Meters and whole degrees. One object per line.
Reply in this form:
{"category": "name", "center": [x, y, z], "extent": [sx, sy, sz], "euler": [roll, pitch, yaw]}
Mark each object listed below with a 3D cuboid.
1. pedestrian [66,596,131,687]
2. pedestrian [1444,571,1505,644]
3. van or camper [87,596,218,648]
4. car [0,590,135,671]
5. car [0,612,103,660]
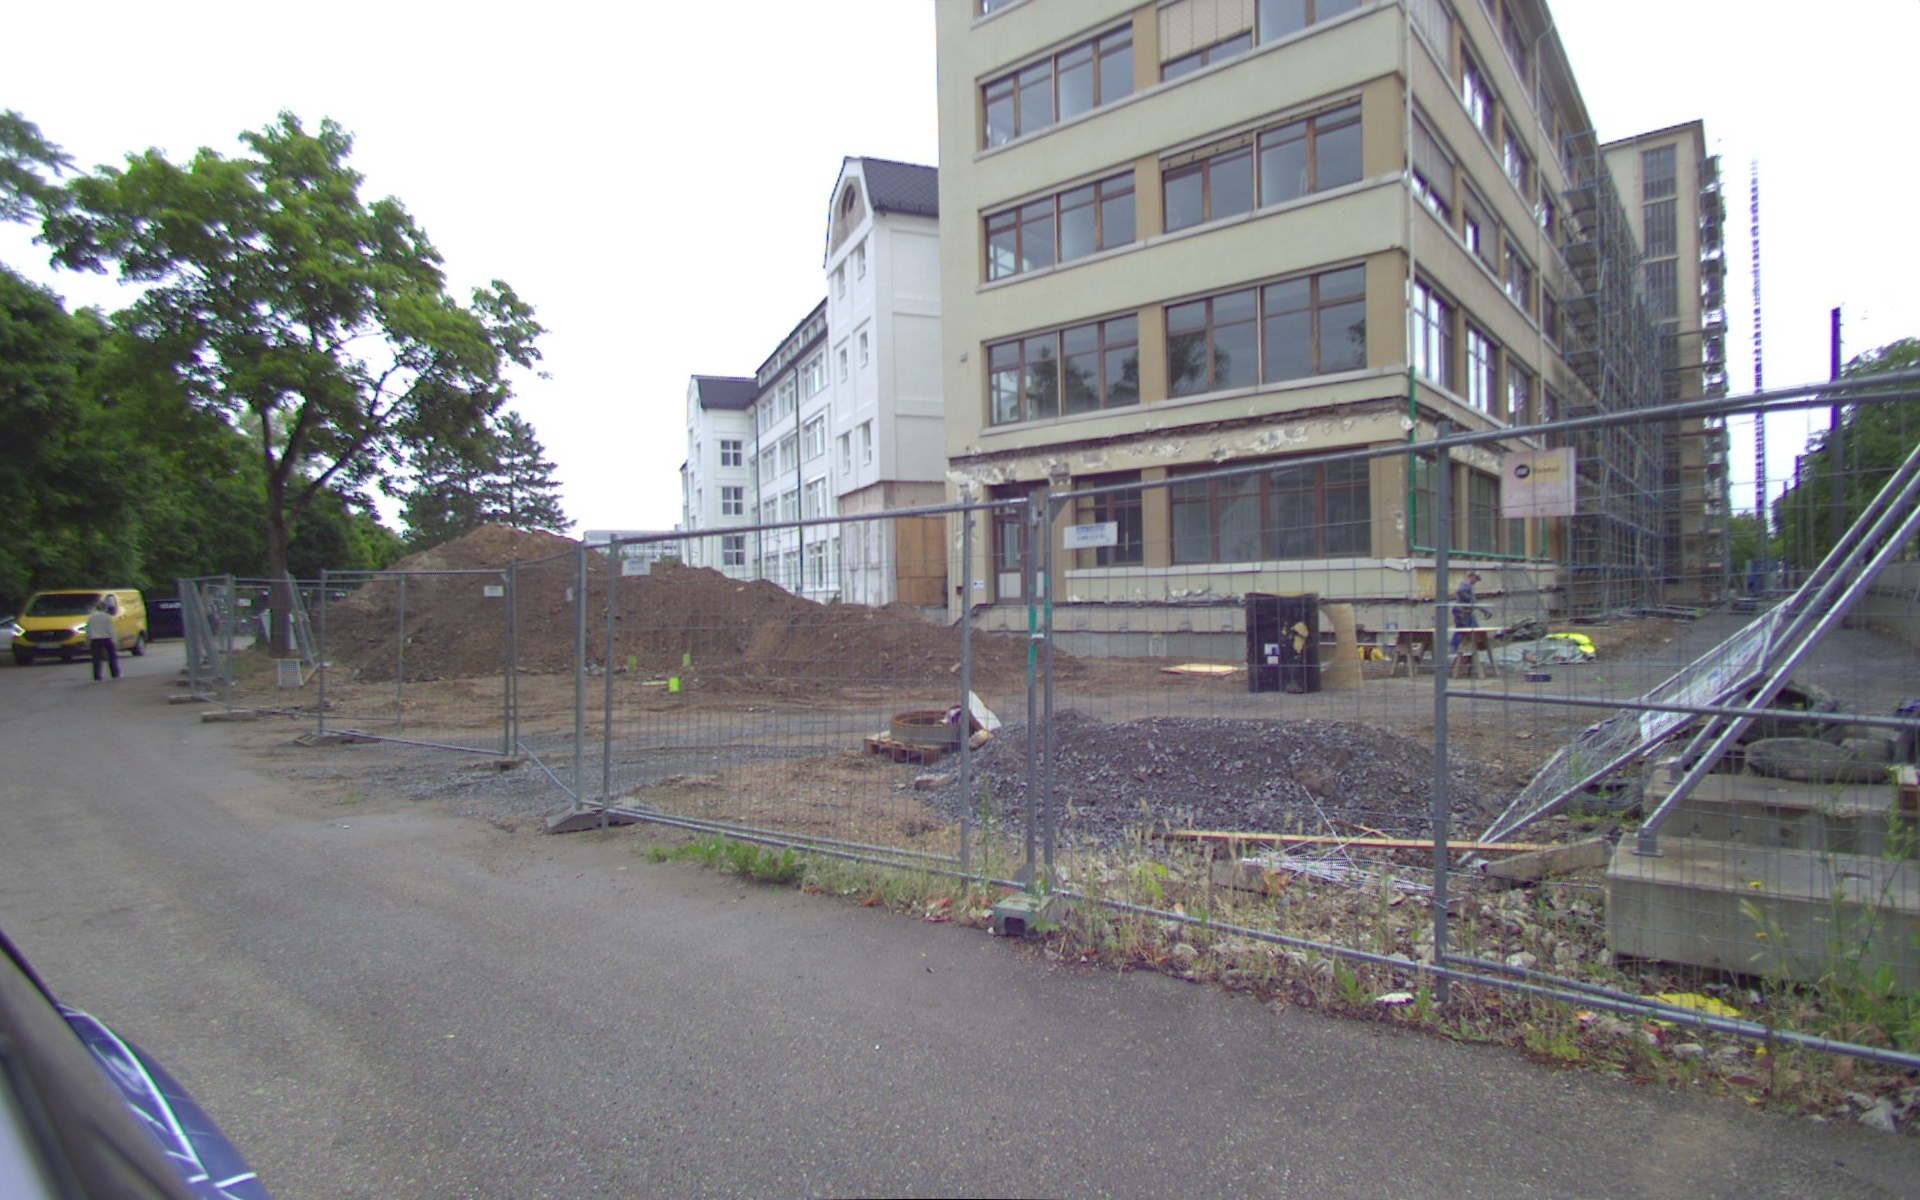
{"category": "pedestrian", "center": [-17.457, 0.831, 20.515], "extent": [0.657, 1.795, 0.747], "euler": [-1, 0, 16]}
{"category": "pedestrian", "center": [10.556, 0.159, 20.799], "extent": [0.975, 1.448, 0.925], "euler": [-1, 0, 19]}
{"category": "van or camper", "center": [-37.851, 1.014, 47.580], "extent": [4.423, 2.275, 2.007], "euler": [-1, 0, -23]}
{"category": "car", "center": [-24.621, 0.796, 28.016], "extent": [2.089, 2.029, 4.012], "euler": [-1, 0, -30]}
{"category": "car", "center": [-32.916, 1.258, 35.780], "extent": [3.822, 1.586, 1.756], "euler": [-1, 0, -35]}
